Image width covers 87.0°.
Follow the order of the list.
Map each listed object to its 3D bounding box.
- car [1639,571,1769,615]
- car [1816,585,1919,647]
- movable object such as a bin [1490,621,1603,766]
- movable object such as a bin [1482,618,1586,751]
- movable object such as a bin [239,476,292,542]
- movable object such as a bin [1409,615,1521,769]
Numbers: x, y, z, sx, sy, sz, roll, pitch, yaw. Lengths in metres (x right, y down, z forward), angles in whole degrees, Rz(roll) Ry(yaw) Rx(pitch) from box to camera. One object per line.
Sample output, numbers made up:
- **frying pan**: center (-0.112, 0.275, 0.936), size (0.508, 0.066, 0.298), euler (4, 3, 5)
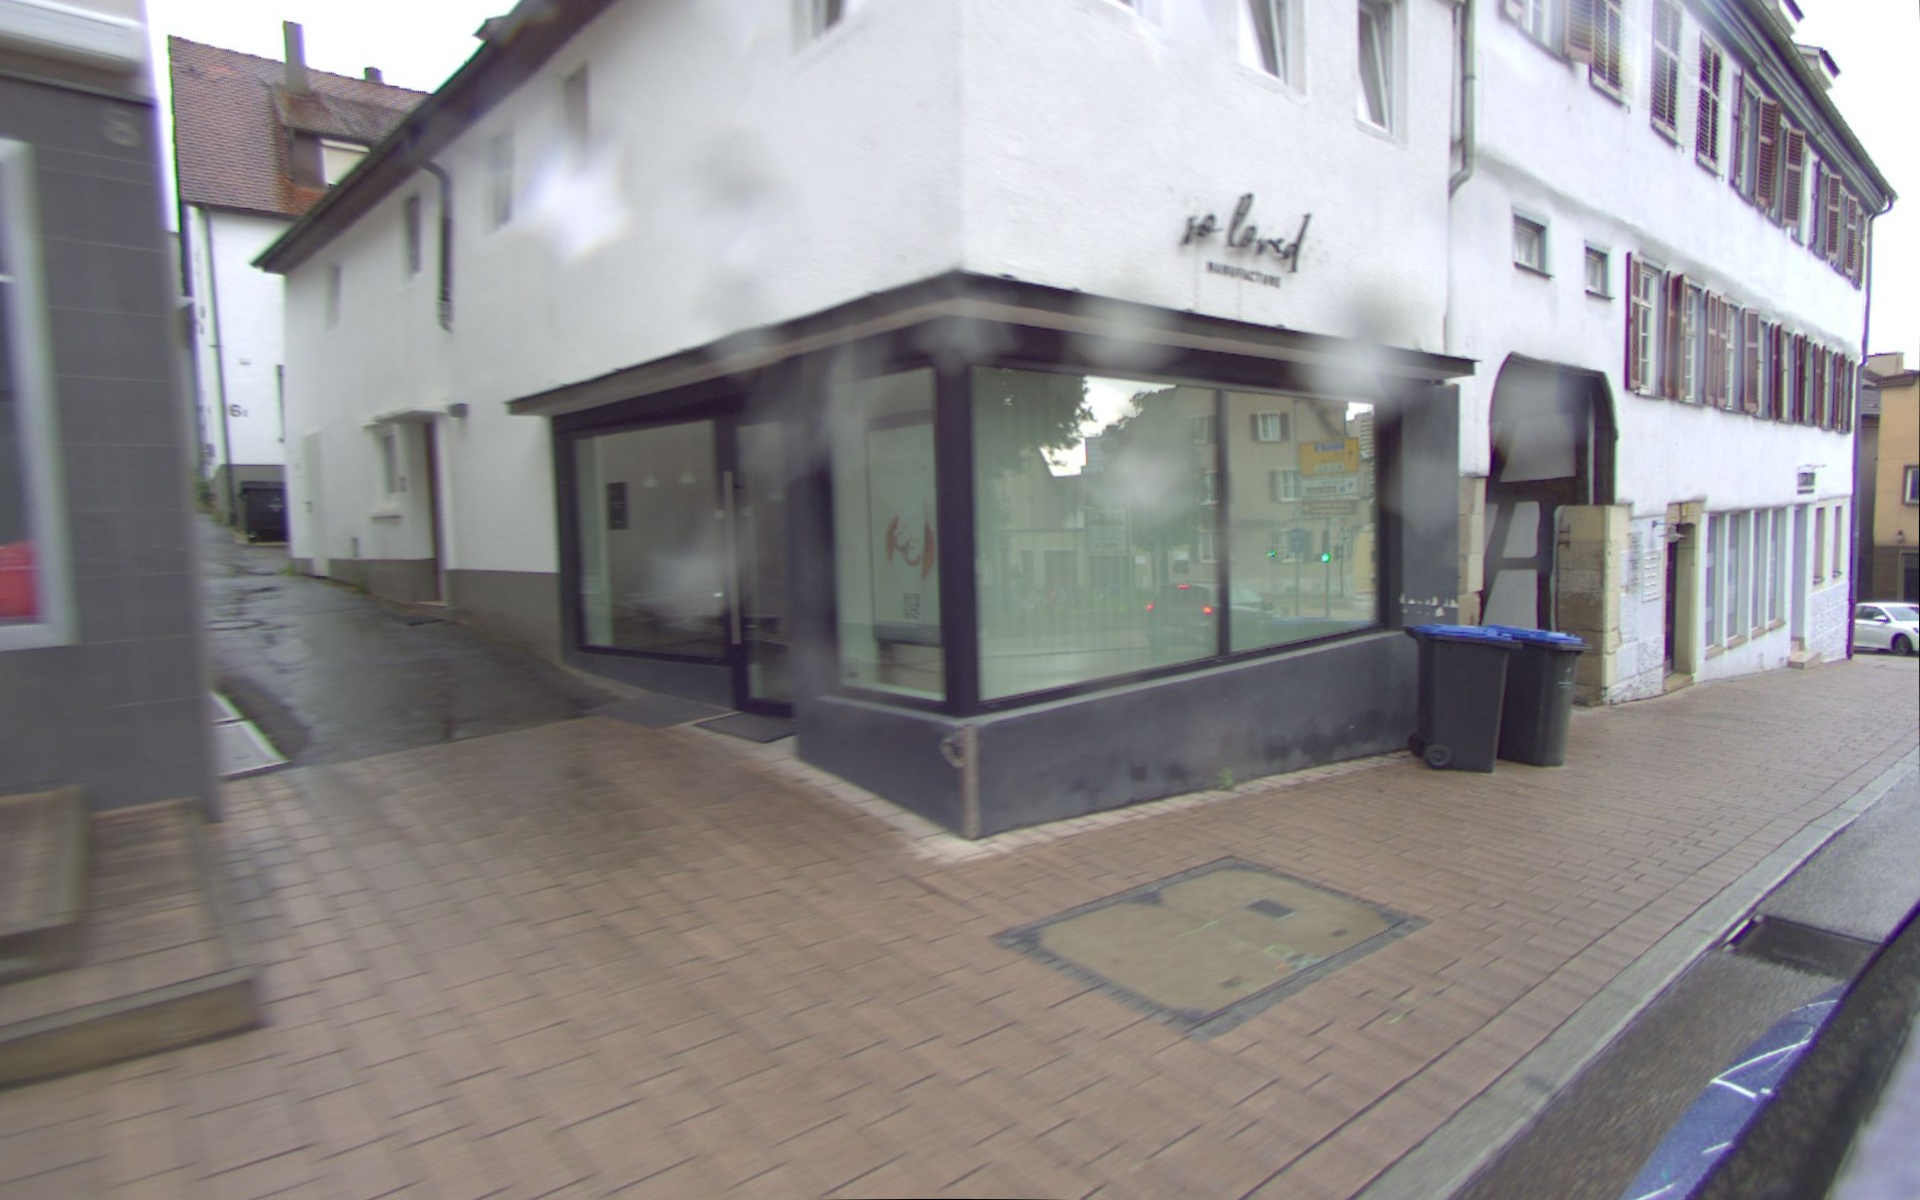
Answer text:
- **car**: center (32.173, -0.355, 43.938), size (1.928, 1.627, 4.393), euler (1, 3, -9)
- **car**: center (27.036, 0.429, 28.802), size (1.935, 1.627, 4.376), euler (1, 2, 7)
- **movable object such as a bin**: center (4.656, 0.718, 8.039), size (0.468, 1.040, 0.597), euler (0, 4, -40)
- **movable object such as a bin**: center (4.936, 0.703, 8.708), size (0.468, 1.040, 0.597), euler (0, 4, -40)
- **movable object such as a bin**: center (-15.010, -1.956, 21.870), size (0.866, 1.324, 0.717), euler (-1, 8, -41)
- **movable object such as a bin**: center (3.739, 0.666, 7.527), size (0.561, 1.040, 0.468), euler (3, 3, 8)
